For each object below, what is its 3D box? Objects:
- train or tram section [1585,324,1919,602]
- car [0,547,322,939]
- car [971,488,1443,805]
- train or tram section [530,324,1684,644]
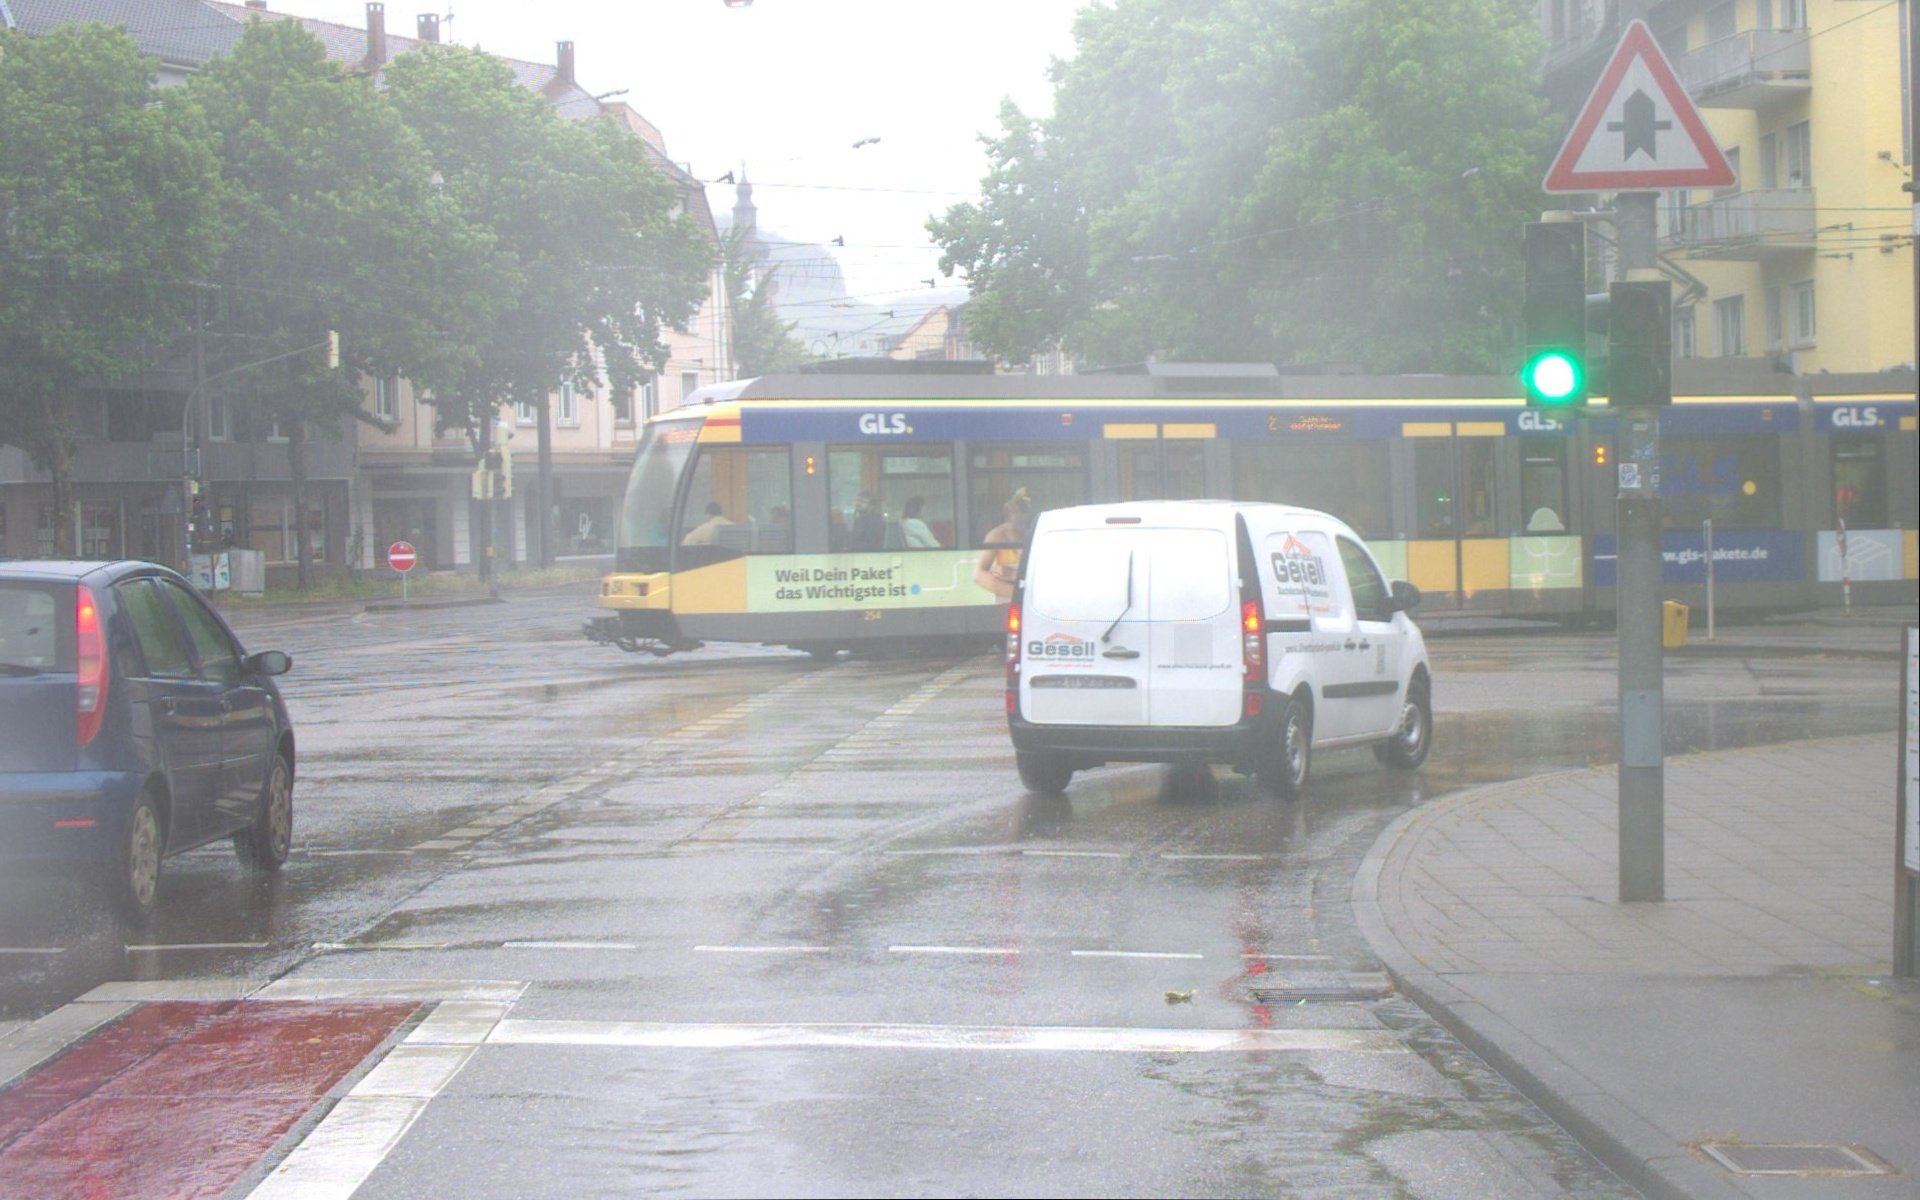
[{"bbox_3d":[15.942,-1.862,45.840,14.626,3.546,3.117,0,2,-1],"label":"train or tram section"},{"bbox_3d":[-4.031,0.533,14.676,1.882,1.454,3.832,0,0,0],"label":"car"},{"bbox_3d":[1.686,0.194,21.997,1.906,1.791,4.109,1,2,21],"label":"car"},{"bbox_3d":[2.124,-1.495,42.570,14.528,3.546,3.117,-1,2,-26],"label":"train or tram section"}]
